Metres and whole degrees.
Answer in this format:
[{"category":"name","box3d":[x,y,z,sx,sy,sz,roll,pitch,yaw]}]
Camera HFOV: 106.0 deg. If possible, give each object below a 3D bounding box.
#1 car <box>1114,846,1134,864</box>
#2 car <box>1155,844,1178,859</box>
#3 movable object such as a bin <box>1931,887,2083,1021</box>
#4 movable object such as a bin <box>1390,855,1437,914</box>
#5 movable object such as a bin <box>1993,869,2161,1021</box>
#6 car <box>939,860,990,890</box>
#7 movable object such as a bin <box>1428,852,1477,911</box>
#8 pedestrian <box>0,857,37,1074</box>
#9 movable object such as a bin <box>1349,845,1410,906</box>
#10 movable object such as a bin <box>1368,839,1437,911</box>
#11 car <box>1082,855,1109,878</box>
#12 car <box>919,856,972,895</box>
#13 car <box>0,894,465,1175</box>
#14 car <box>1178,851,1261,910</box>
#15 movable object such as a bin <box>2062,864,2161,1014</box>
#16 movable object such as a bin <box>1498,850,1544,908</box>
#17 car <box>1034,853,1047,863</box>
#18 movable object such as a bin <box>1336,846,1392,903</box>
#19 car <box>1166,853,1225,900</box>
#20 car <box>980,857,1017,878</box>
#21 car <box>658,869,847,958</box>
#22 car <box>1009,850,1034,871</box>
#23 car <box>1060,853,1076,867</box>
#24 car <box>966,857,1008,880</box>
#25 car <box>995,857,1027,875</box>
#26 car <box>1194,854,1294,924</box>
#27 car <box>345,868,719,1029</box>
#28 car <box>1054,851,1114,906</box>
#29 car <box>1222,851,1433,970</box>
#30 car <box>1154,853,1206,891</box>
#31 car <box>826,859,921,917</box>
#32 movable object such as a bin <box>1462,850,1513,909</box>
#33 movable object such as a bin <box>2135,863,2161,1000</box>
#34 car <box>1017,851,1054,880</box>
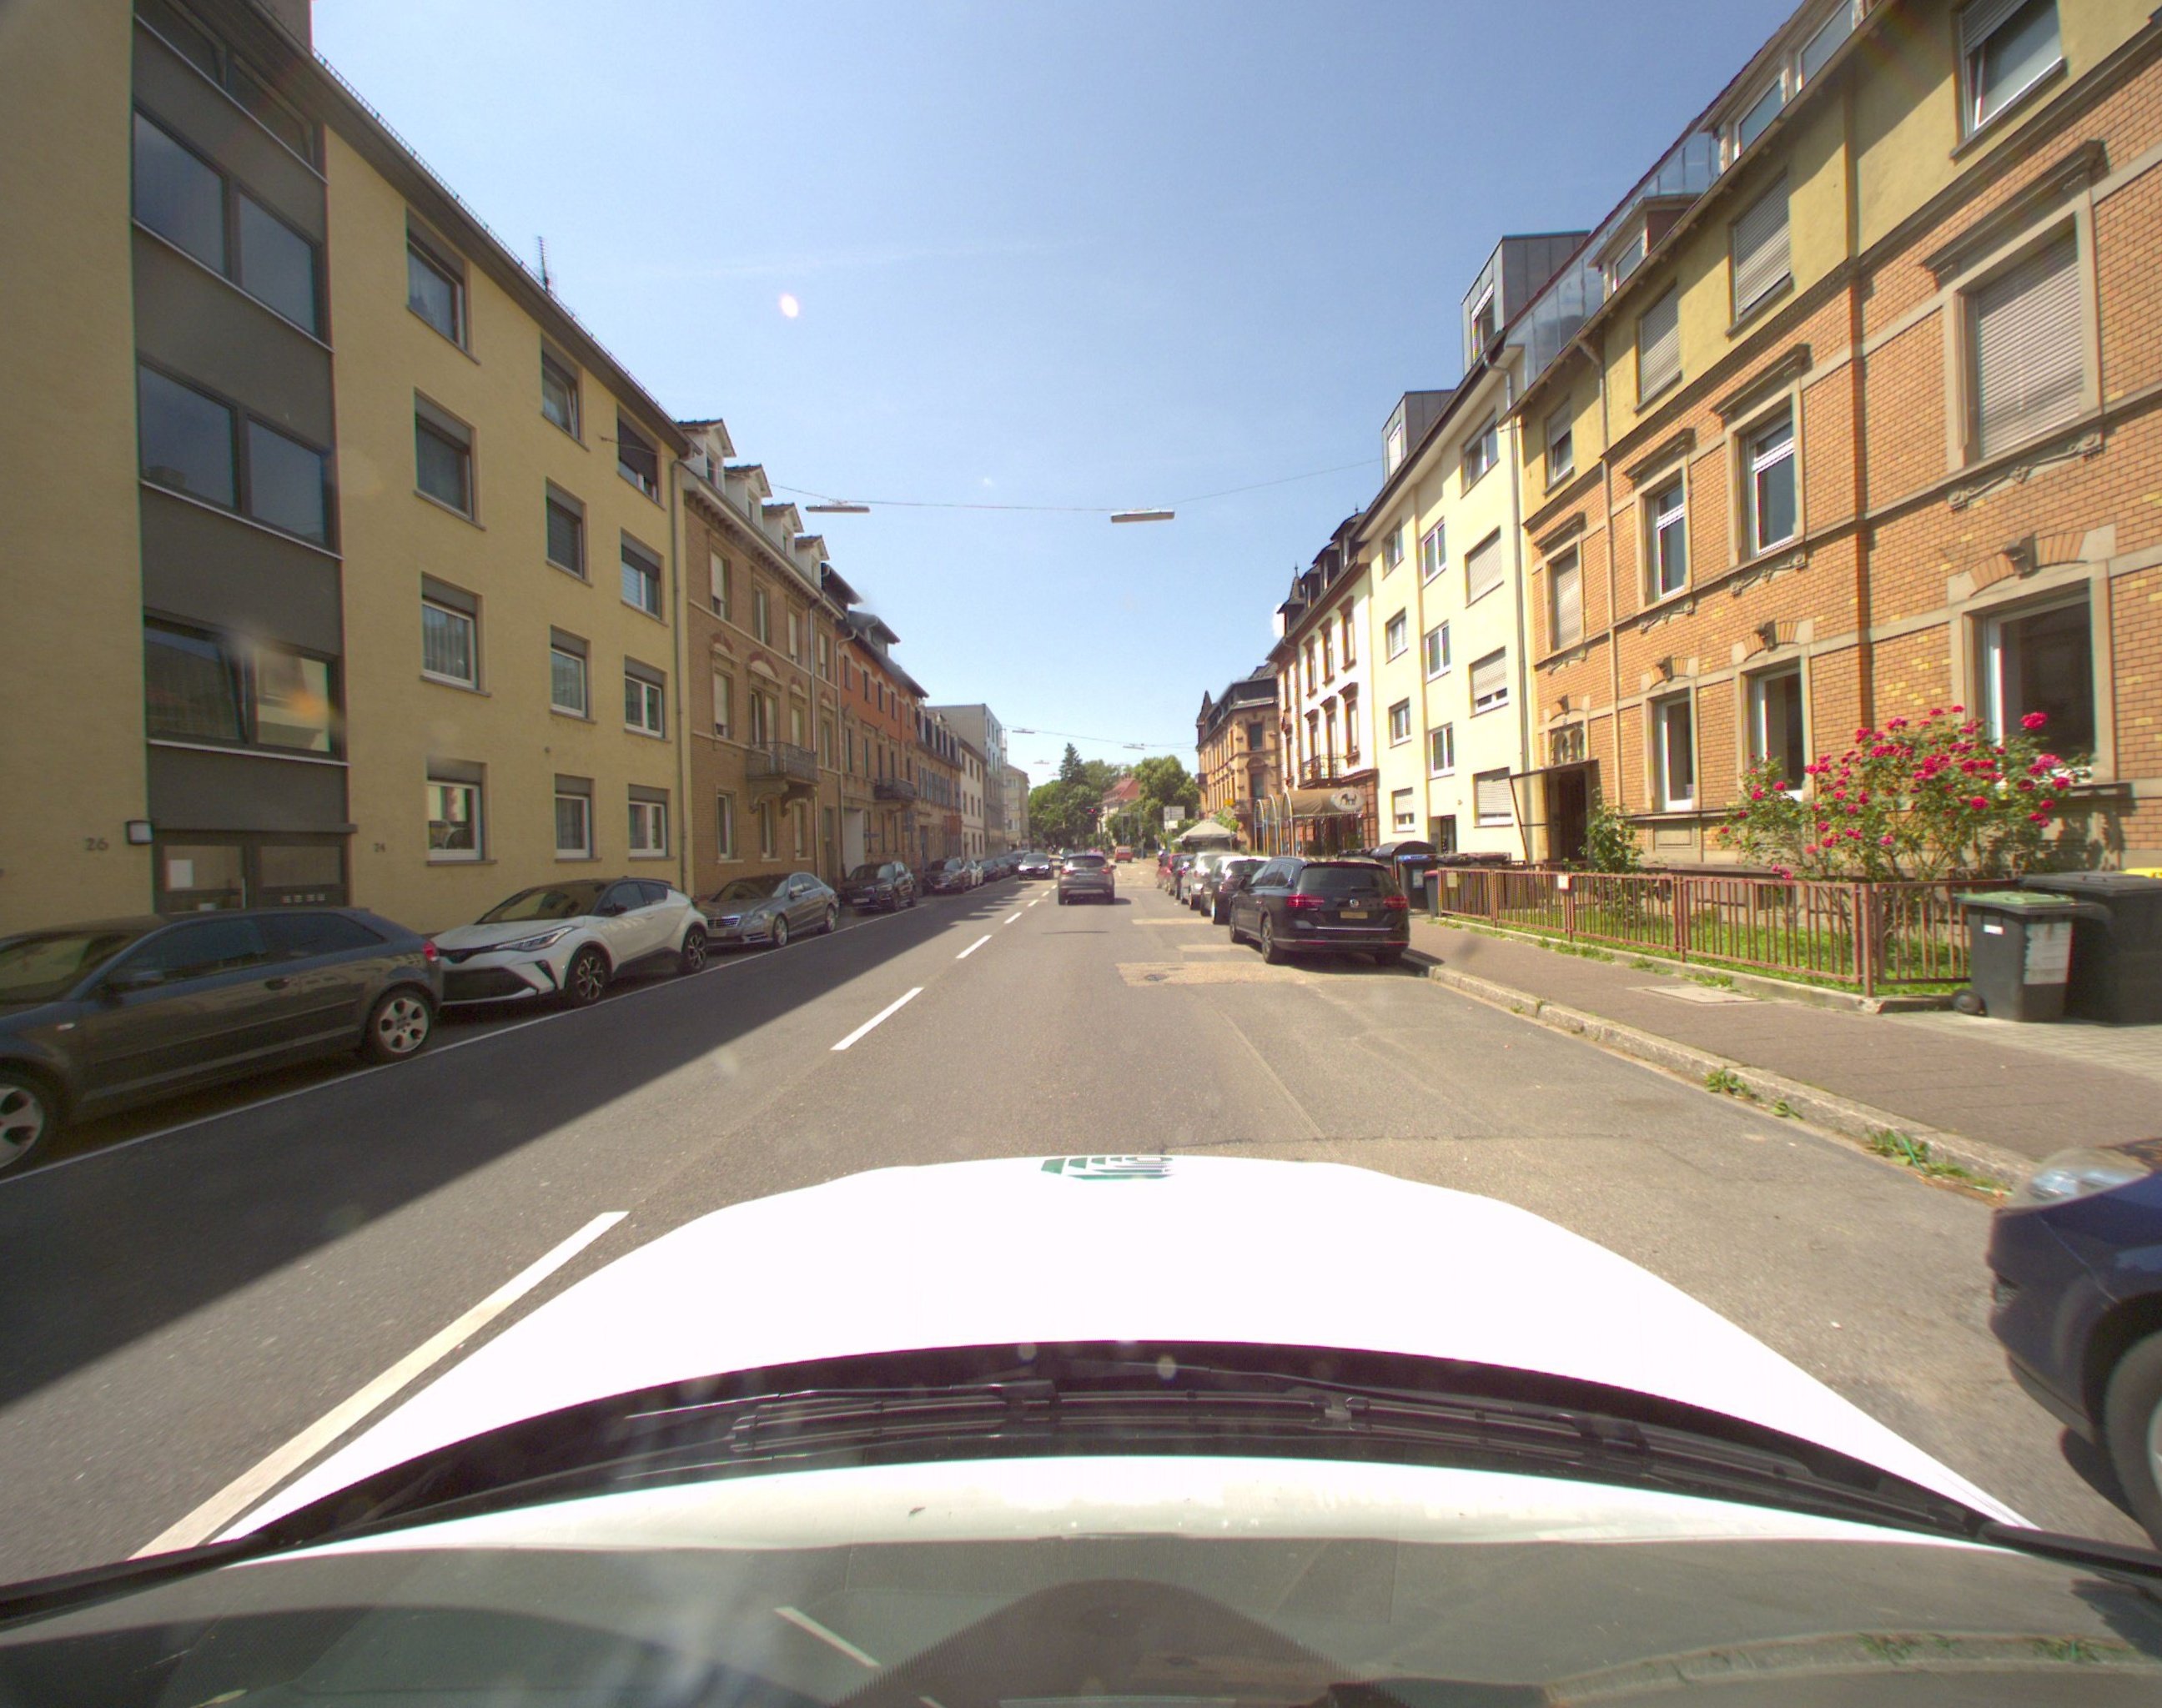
[{"category":"car","box3d":[5.006,0.089,94.545,1.987,2.013,4.465,-3,0,0]},{"category":"car","box3d":[9.274,-0.259,88.030,1.884,1.508,3.958,-3,0,15]},{"category":"movable object such as a bin","box3d":[6.930,0.729,6.116,0.466,0.913,0.564,-3,0,0]},{"category":"movable object such as a bin","box3d":[6.872,0.614,16.848,0.635,1.177,0.912,-1,0,3]},{"category":"movable object such as a bin","box3d":[7.434,0.644,6.049,0.526,1.033,0.667,-3,0,0]},{"category":"car","box3d":[-6.189,1.091,43.753,1.898,1.357,4.304,-4,0,1]},{"category":"movable object such as a bin","box3d":[7.662,0.550,16.817,0.635,1.186,0.853,-1,0,3]},{"category":"pedestrian","box3d":[-9.265,0.917,6.254,0.961,1.750,1.157,-2,0,6]},{"category":"movable object such as a bin","box3d":[7.137,0.506,19.550,1.038,1.402,1.255,-1,0,3]},{"category":"movable object such as a bin","box3d":[7.144,0.447,18.178,1.038,1.518,1.447,-1,0,3]},{"category":"car","box3d":[1.054,0.934,62.296,1.807,1.620,4.439,-3,0,-1]},{"category":"car","box3d":[-6.262,0.959,38.092,1.901,1.619,4.297,-4,0,-3]},{"category":"car","box3d":[-6.844,1.128,5.645,1.898,1.379,4.062,-4,0,1]},{"category":"car","box3d":[3.867,0.688,23.349,1.853,1.553,4.002,0,0,2]},{"category":"movable object such as a bin","box3d":[8.006,0.611,6.068,0.557,1.050,0.667,-2,0,-1]},{"category":"movable object such as a bin","box3d":[9.071,0.512,16.805,0.635,1.177,0.627,-1,0,3]},{"category":"car","box3d":[-6.892,0.655,139.183,1.783,1.626,3.746,-2,0,3]},{"category":"movable object such as a bin","box3d":[7.204,0.516,20.807,1.038,1.402,1.255,-1,0,3]},{"category":"car","box3d":[3.865,0.729,27.981,1.605,1.461,3.506,-1,0,1]},{"category":"car","box3d":[-5.777,0.926,57.275,1.897,1.291,4.305,-2,0,3]},{"category":"car","box3d":[-6.649,1.126,17.162,1.898,1.401,4.755,-4,0,1]},{"category":"car","box3d":[-5.673,0.599,78.170,1.897,1.821,4.304,-2,0,2]},{"category":"car","box3d":[-1.553,0.666,97.291,1.785,1.626,3.742,-2,0,-1]},{"category":"car","box3d":[-5.907,0.916,51.748,1.897,1.291,4.306,-2,0,3]},{"category":"car","box3d":[-5.476,0.890,63.974,1.897,1.291,4.304,-2,0,2]},{"category":"car","box3d":[3.687,0.734,19.031,1.653,1.441,4.002,-1,0,2]},{"category":"car","box3d":[-6.766,1.031,10.769,1.898,1.510,4.302,-4,0,1]},{"category":"car","box3d":[0.118,0.720,26.369,1.738,1.616,4.000,-1,0,1]},{"category":"car","box3d":[3.443,0.696,12.366,1.854,1.465,4.618,0,0,0]},{"category":"car","box3d":[4.049,0.713,33.689,1.607,1.443,3.434,-1,0,-2]},{"category":"car","box3d":[-6.622,1.027,26.485,1.899,1.619,4.302,-4,0,0]},{"category":"movable object such as a bin","box3d":[8.372,0.519,16.800,0.665,1.177,0.853,-1,0,3]},{"category":"movable object such as a bin","box3d":[8.587,0.589,6.071,0.557,1.050,0.667,-2,0,-1]},{"category":"car","box3d":[-2.747,0.681,50.198,1.933,1.626,4.000,-4,0,0]}]
